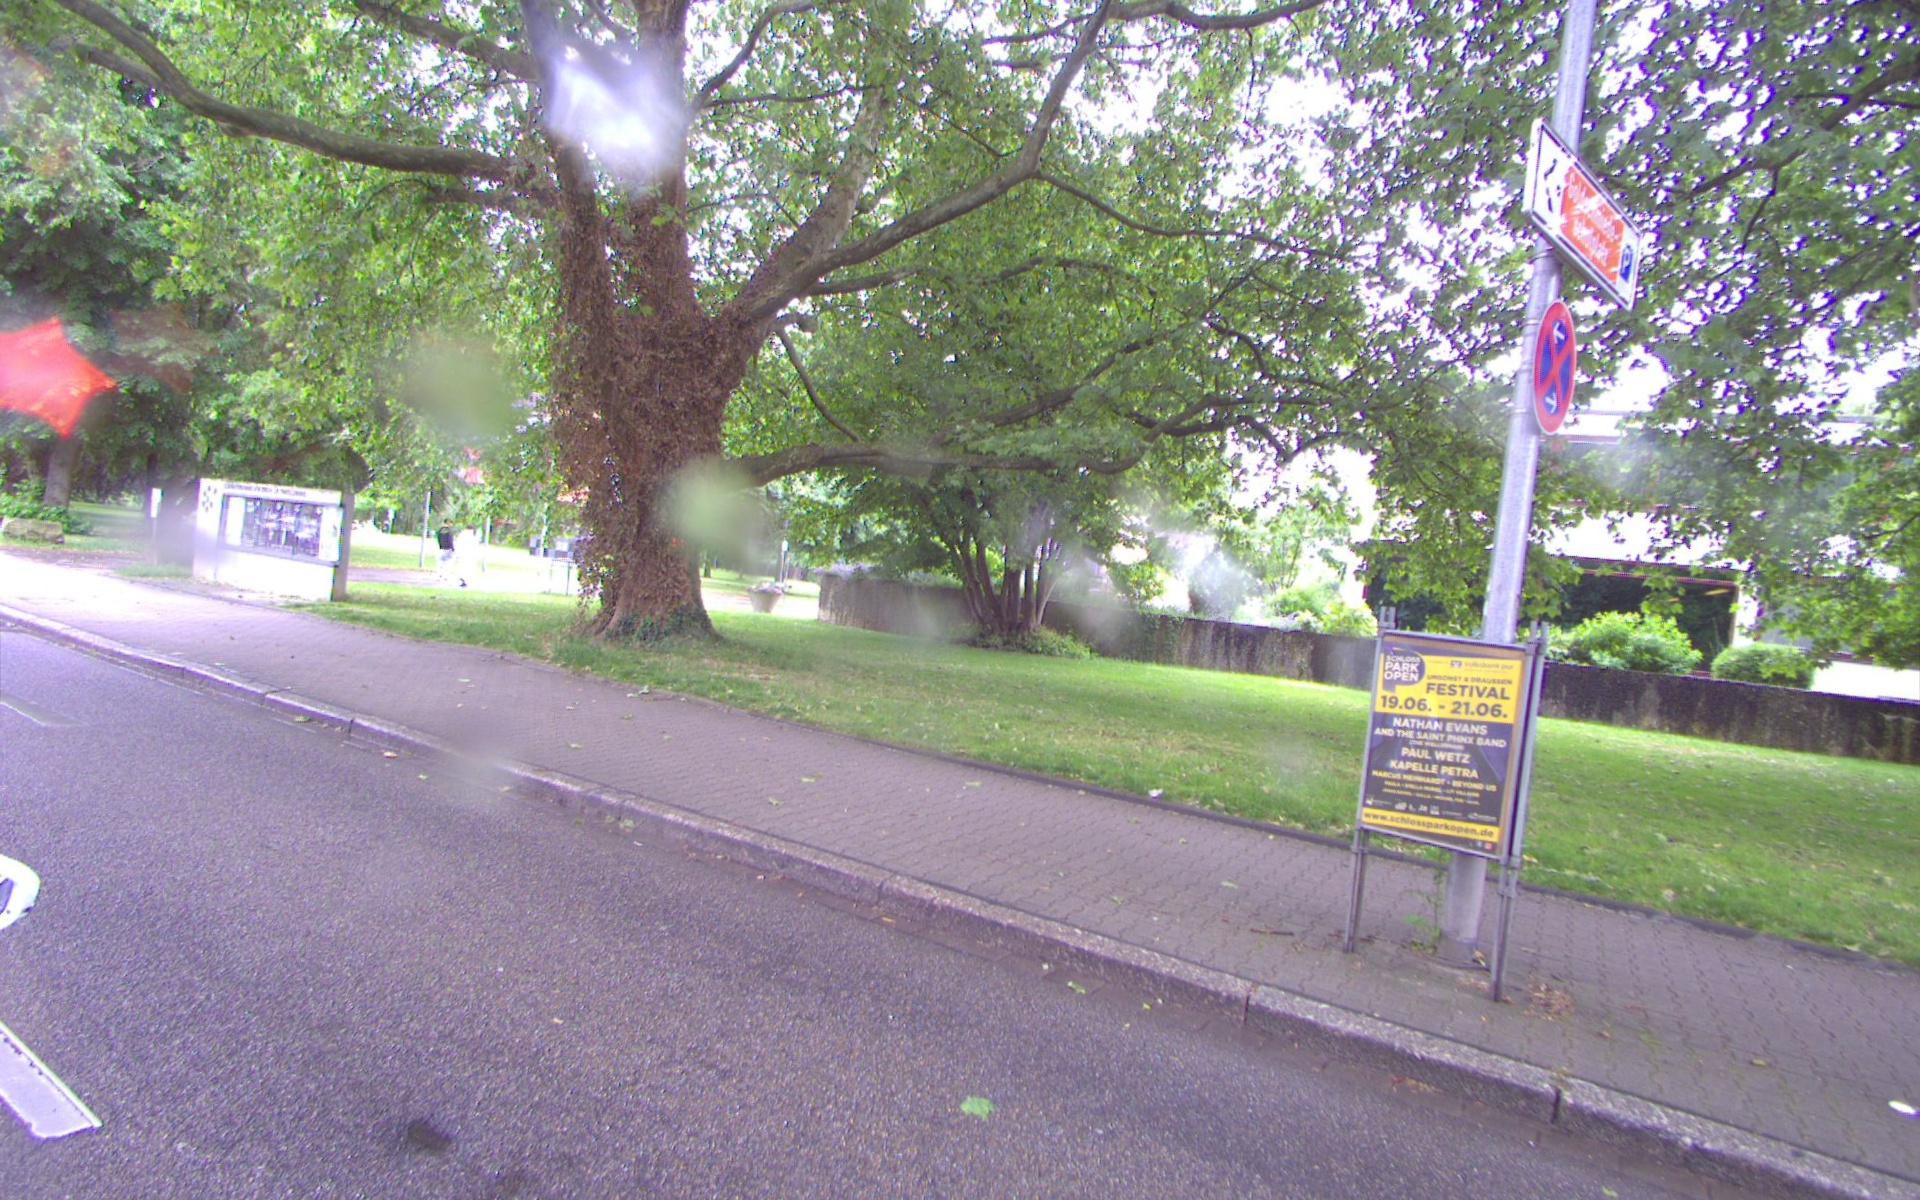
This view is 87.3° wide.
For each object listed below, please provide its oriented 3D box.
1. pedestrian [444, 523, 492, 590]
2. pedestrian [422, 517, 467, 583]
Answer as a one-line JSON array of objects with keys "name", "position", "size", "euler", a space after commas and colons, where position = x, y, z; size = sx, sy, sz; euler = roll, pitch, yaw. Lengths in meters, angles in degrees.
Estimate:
[{"name": "pedestrian", "position": [-13.845, -1.221, 28.323], "size": [0.776, 1.732, 0.666], "euler": [7, -1, 23]}, {"name": "pedestrian", "position": [-14.916, -1.439, 29.124], "size": [0.711, 1.776, 0.666], "euler": [7, -1, 23]}]
